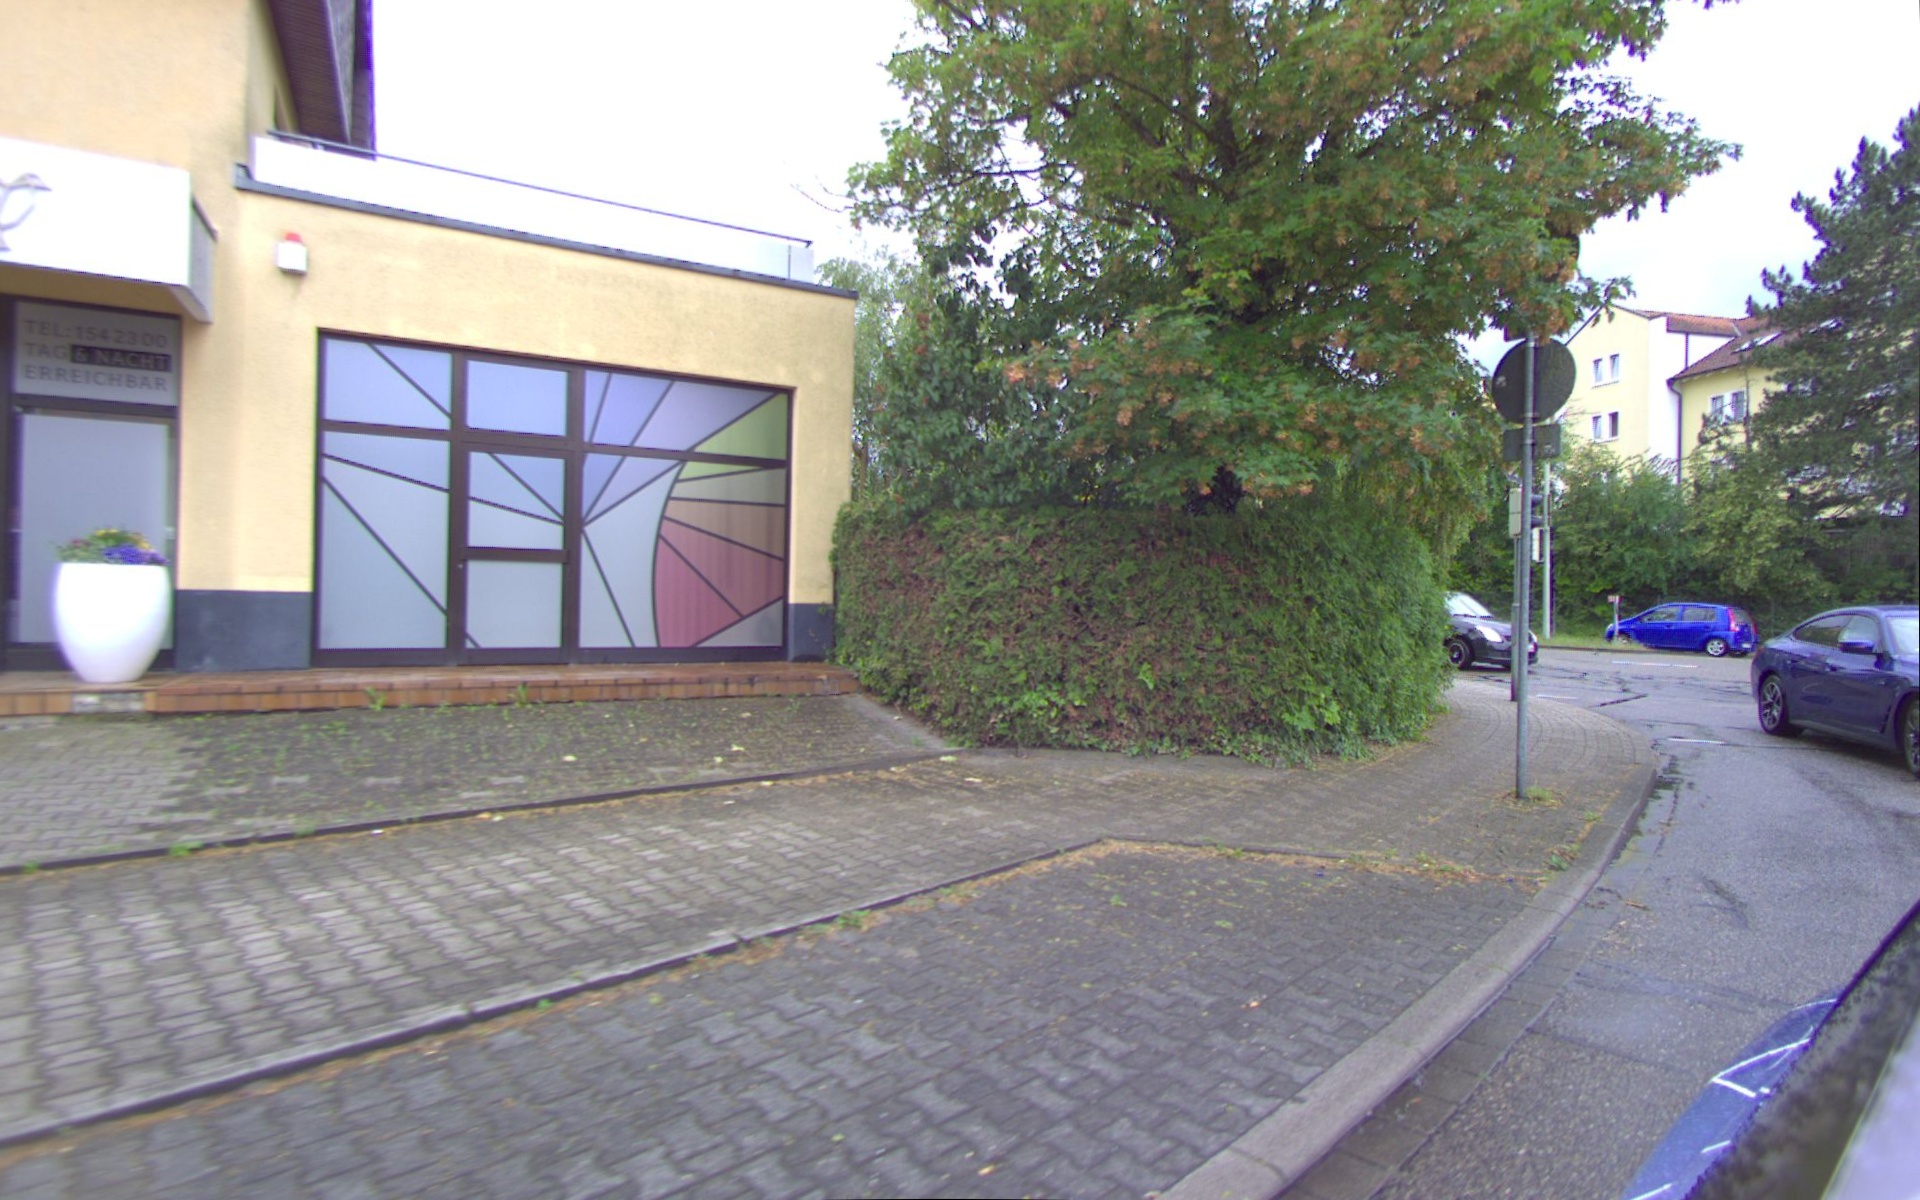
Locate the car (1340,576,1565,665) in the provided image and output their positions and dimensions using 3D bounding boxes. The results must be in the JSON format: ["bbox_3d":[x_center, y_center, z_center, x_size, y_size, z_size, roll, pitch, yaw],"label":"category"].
[{"bbox_3d":[9.642,0.377,20.179,1.711,1.538,4.008,-2,0,-17],"label":"car"}]

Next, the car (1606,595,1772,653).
[{"bbox_3d":[20.223,0.637,28.190,1.494,1.475,3.443,3,-1,-31],"label":"car"}]

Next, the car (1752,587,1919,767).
[{"bbox_3d":[9.522,0.645,9.536,1.890,1.515,4.322,-1,0,19],"label":"car"}]
